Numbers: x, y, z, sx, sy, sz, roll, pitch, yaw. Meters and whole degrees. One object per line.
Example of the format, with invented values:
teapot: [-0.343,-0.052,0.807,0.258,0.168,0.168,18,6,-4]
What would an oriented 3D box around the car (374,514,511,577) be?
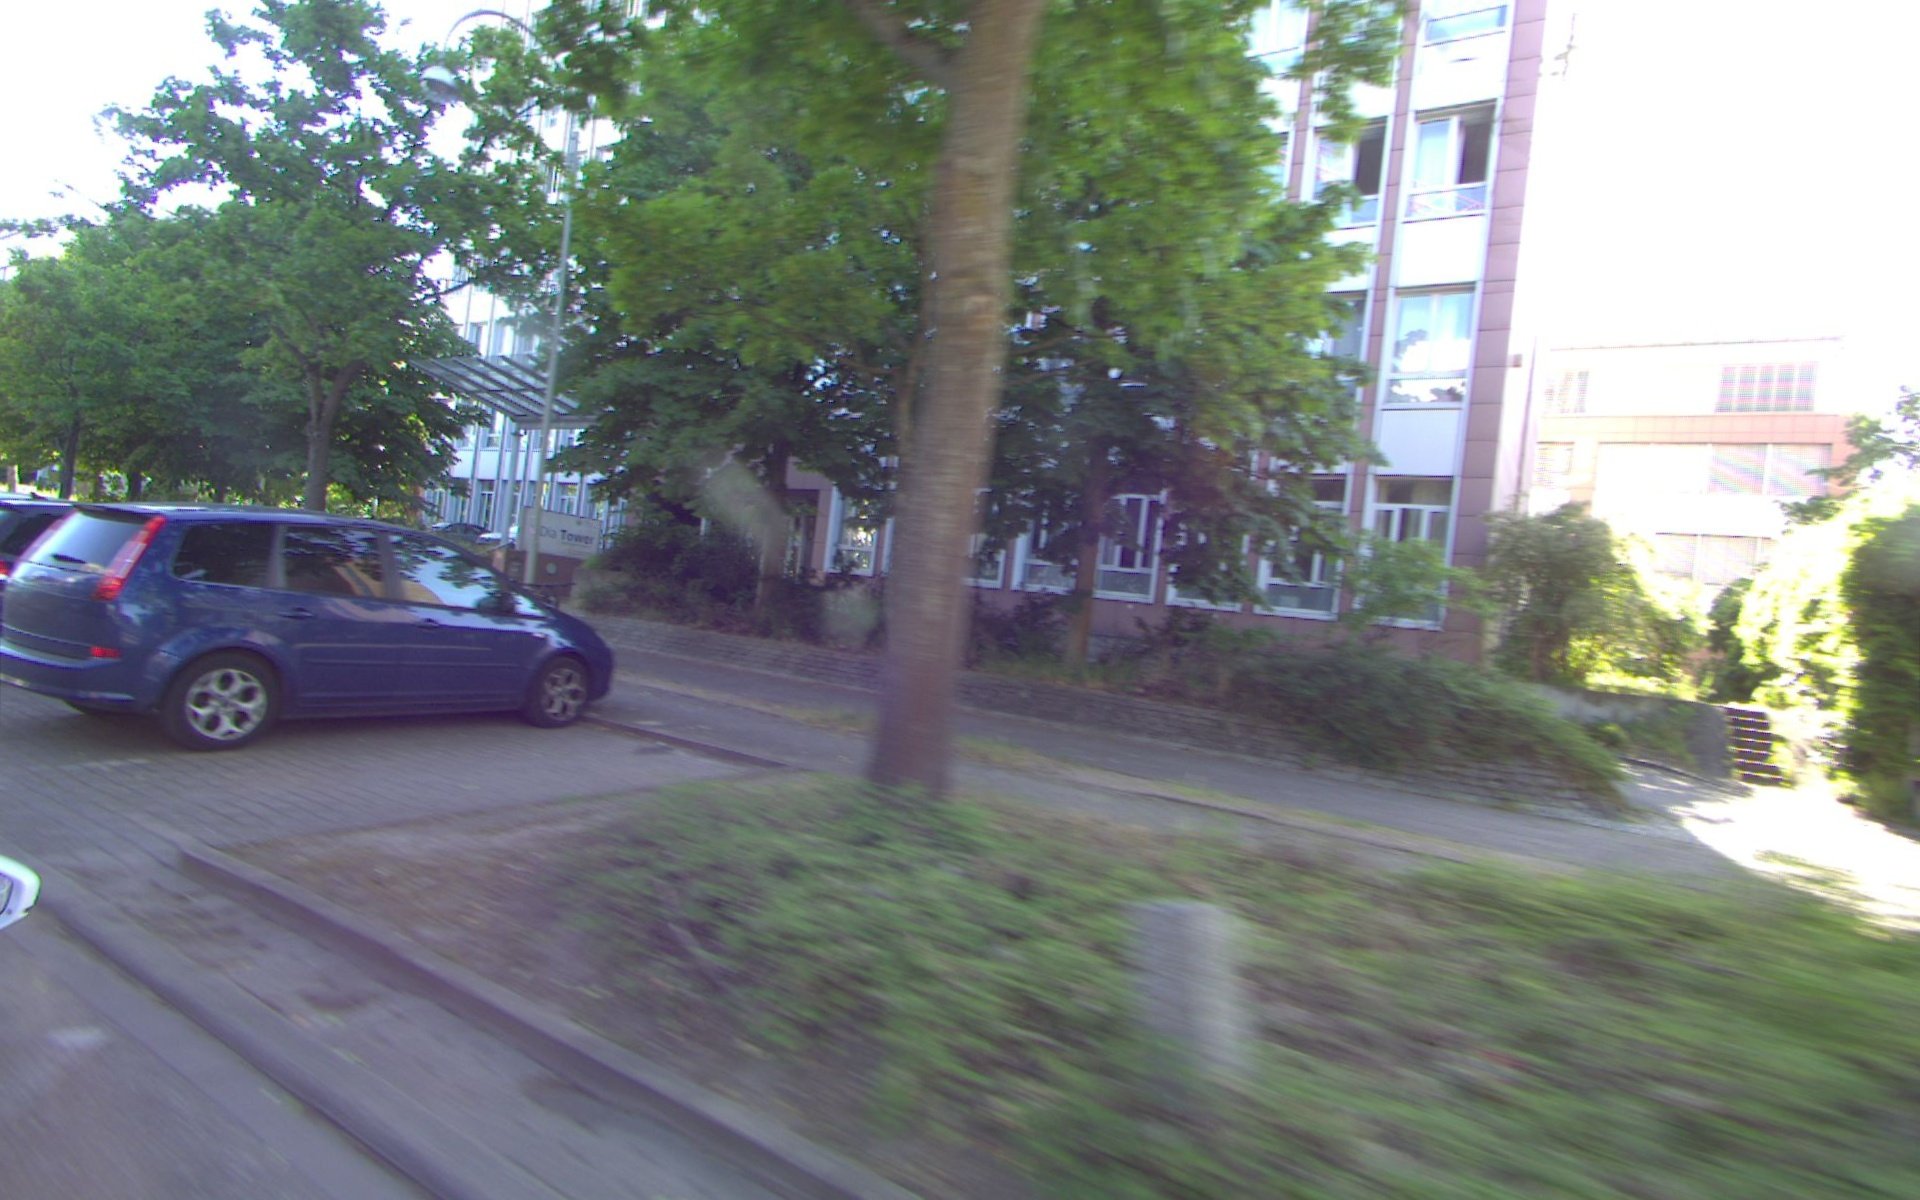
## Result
car: [-20.263,-2.104,39.592,1.965,1.690,4.314,6,-3,28]

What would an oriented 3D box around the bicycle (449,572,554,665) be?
bicycle: [-6.172,0.233,13.490,1.856,1.060,0.378,6,1,38]

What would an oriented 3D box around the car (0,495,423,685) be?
car: [-7.515,-0.064,9.567,1.880,1.485,3.742,6,0,33]

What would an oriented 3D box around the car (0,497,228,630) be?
car: [-11.653,-0.508,12.402,1.848,1.467,3.758,6,0,29]

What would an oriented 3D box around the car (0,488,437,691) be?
car: [-7.368,-0.048,9.421,1.864,1.545,3.888,6,-1,32]

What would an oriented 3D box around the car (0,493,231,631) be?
car: [-11.631,-0.543,12.319,1.934,1.486,3.870,6,0,32]

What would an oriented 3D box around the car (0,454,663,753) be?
car: [-4.662,0.087,7.928,1.826,1.653,4.275,6,0,29]

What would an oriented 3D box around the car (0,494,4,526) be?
car: [-18.466,-1.283,16.213,1.522,1.610,4.055,7,-1,25]

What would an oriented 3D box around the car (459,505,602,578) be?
car: [-14.802,-1.976,34.884,1.965,1.802,4.084,6,-3,28]

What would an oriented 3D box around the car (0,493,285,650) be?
car: [-9.665,-0.319,10.781,1.606,1.485,3.639,6,0,31]

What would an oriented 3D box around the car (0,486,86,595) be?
car: [-15.661,-1.038,14.530,1.890,1.575,4.245,6,1,36]
